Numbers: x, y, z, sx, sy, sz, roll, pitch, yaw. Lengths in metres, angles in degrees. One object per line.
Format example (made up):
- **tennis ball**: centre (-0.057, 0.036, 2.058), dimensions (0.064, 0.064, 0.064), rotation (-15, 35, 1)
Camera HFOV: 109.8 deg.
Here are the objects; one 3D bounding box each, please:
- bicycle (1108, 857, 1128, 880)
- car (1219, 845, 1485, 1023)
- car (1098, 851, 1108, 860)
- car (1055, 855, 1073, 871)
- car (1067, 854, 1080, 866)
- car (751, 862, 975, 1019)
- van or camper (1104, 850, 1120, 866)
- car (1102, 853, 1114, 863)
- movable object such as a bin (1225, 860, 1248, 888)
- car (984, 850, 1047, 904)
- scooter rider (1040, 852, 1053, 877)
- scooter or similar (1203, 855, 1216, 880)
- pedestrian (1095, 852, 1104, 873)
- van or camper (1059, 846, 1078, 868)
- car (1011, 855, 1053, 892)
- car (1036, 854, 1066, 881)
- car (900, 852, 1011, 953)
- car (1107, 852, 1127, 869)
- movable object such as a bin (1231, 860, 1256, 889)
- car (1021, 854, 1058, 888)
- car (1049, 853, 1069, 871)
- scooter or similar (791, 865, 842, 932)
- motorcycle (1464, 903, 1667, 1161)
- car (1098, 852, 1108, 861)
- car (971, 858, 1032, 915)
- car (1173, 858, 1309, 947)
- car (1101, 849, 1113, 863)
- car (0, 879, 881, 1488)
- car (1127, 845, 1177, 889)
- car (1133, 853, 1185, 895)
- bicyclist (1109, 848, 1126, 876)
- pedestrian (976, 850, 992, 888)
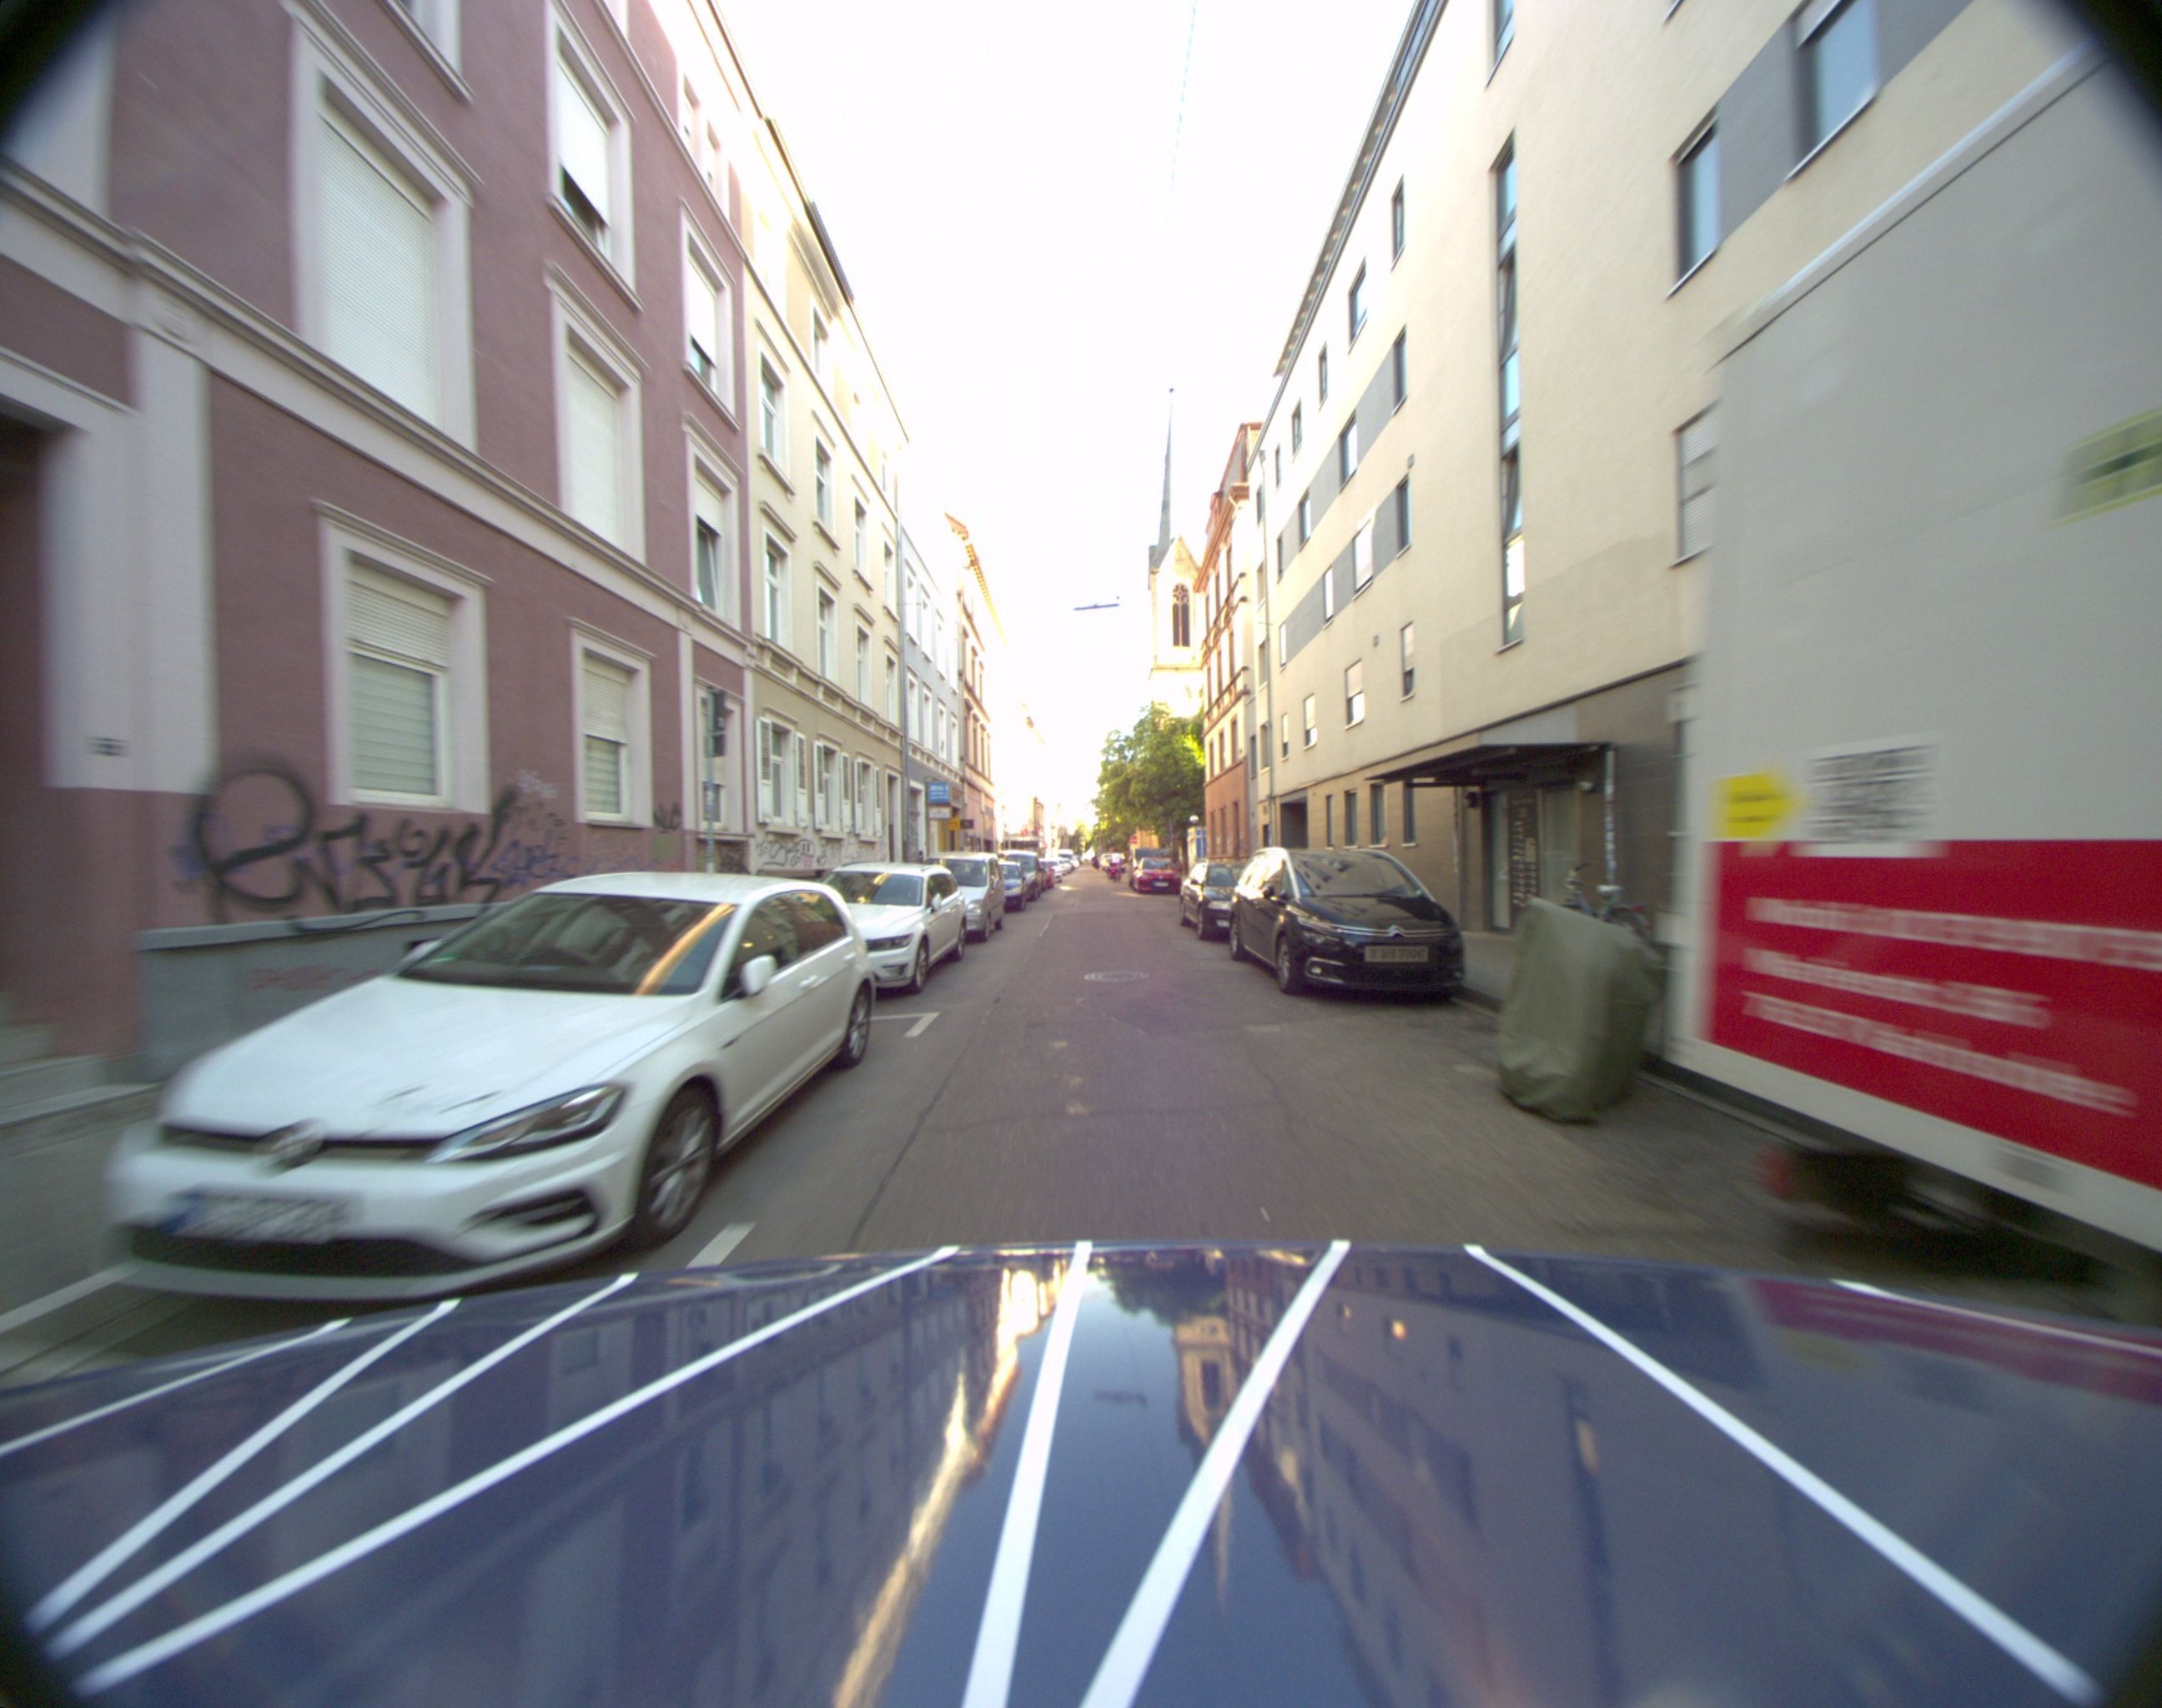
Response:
- **bicycle**: centre (2.153, 0.840, 44.466), dimensions (0.980, 1.306, 2.555), rotation (0, 0, -1)
- **car**: centre (2.946, 0.782, 9.311), dimensions (1.721, 1.640, 4.246), rotation (1, -1, 0)
- **car**: centre (4.507, 0.297, 153.610), dimensions (1.777, 1.614, 4.022), rotation (-2, 0, -1)
- **car**: centre (-1.693, 0.909, 77.680), dimensions (1.558, 1.517, 4.200), rotation (-2, 1, 1)
- **car**: centre (-1.080, 0.783, 108.099), dimensions (1.696, 1.615, 3.963), rotation (-2, 0, 1)
- **car**: centre (-2.621, 0.942, 10.332), dimensions (1.701, 1.535, 4.628), rotation (1, 1, 0)
- **van or camper**: centre (3.954, 0.505, 97.687), dimensions (1.984, 1.939, 4.563), rotation (-2, 0, 1)
- **car**: centre (4.044, 0.591, 113.714), dimensions (1.696, 1.529, 3.813), rotation (-2, 0, 1)
- **movable object such as a bin**: centre (6.117, 0.776, 29.929), dimensions (0.760, 1.060, 0.652), rotation (-2, 1, 20)
- **car**: centre (-2.362, 0.787, 28.501), dimensions (1.904, 1.783, 4.314), rotation (-2, 1, 0)
- **scooter rider**: centre (-2.488, 0.778, 54.917), dimensions (0.610, 1.768, 0.566), rotation (-1, 2, 40)
- **scooter or similar**: centre (6.510, 0.667, 38.556), dimensions (0.348, 1.209, 1.391), rotation (-2, 1, 0)
- **pedestrian**: centre (1.706, 0.766, 69.993), dimensions (0.718, 1.862, 0.720), rotation (-2, 1, 0)
- **van or camper**: centre (-1.547, 0.321, 93.719), dimensions (1.998, 2.617, 5.979), rotation (-2, 1, 1)
- **car**: centre (-2.246, 0.871, 35.384), dimensions (1.573, 1.548, 3.314), rotation (2, 1, 2)
- **car**: centre (-1.939, 0.836, 49.045), dimensions (1.792, 1.507, 4.135), rotation (-2, 1, -2)
- **car**: centre (-2.386, 0.861, 15.271), dimensions (1.560, 1.702, 3.558), rotation (-2, 1, 0)
- **car**: centre (3.568, 0.666, 76.315), dimensions (1.798, 1.543, 3.834), rotation (-2, 1, 1)
- **movable object such as a bin**: centre (6.209, 0.782, 29.044), dimensions (0.731, 1.060, 0.505), rotation (-3, 1, -31)
- **car**: centre (-2.084, 0.832, 39.147), dimensions (1.610, 1.563, 3.553), rotation (-2, 1, 0)
- **car**: centre (-2.001, 0.667, 67.740), dimensions (1.694, 1.454, 3.639), rotation (-2, 1, -2)
- **scooter or similar**: centre (-5.044, 0.821, 14.564), dimensions (0.451, 1.176, 1.368), rotation (2, 1, 0)
- **motorcycle**: centre (3.311, 1.017, 5.085), dimensions (0.789, 1.246, 2.112), rotation (1, 1, 42)
- **car**: centre (4.119, 0.545, 143.113), dimensions (1.777, 1.614, 4.022), rotation (-2, 0, -1)
- **car**: centre (-2.354, 0.920, 23.225), dimensions (1.556, 1.502, 3.610), rotation (-2, 1, -2)
- **car**: centre (2.954, 0.840, 15.015), dimensions (1.721, 1.470, 4.499), rotation (1, -1, 0)
- **car**: centre (4.083, 0.292, 119.125), dimensions (1.777, 2.128, 4.022), rotation (-2, 0, 1)
- **car**: centre (-2.480, 1.000, 4.157), dimensions (1.691, 1.535, 4.045), rotation (1, 1, 0)
- **car**: centre (3.359, 0.584, 36.680), dimensions (2.025, 1.868, 5.297), rotation (-2, 0, 2)
- **car**: centre (3.135, 0.776, 31.163), dimensions (1.755, 1.513, 3.868), rotation (2, 1, 1)
- **bicyclist**: centre (2.143, 0.486, 44.675), dimensions (0.953, 1.618, 0.953), rotation (1, 1, -1)
- **pedestrian**: centre (-4.548, 0.685, 35.680), dimensions (0.630, 1.730, 0.658), rotation (-3, 1, -12)
